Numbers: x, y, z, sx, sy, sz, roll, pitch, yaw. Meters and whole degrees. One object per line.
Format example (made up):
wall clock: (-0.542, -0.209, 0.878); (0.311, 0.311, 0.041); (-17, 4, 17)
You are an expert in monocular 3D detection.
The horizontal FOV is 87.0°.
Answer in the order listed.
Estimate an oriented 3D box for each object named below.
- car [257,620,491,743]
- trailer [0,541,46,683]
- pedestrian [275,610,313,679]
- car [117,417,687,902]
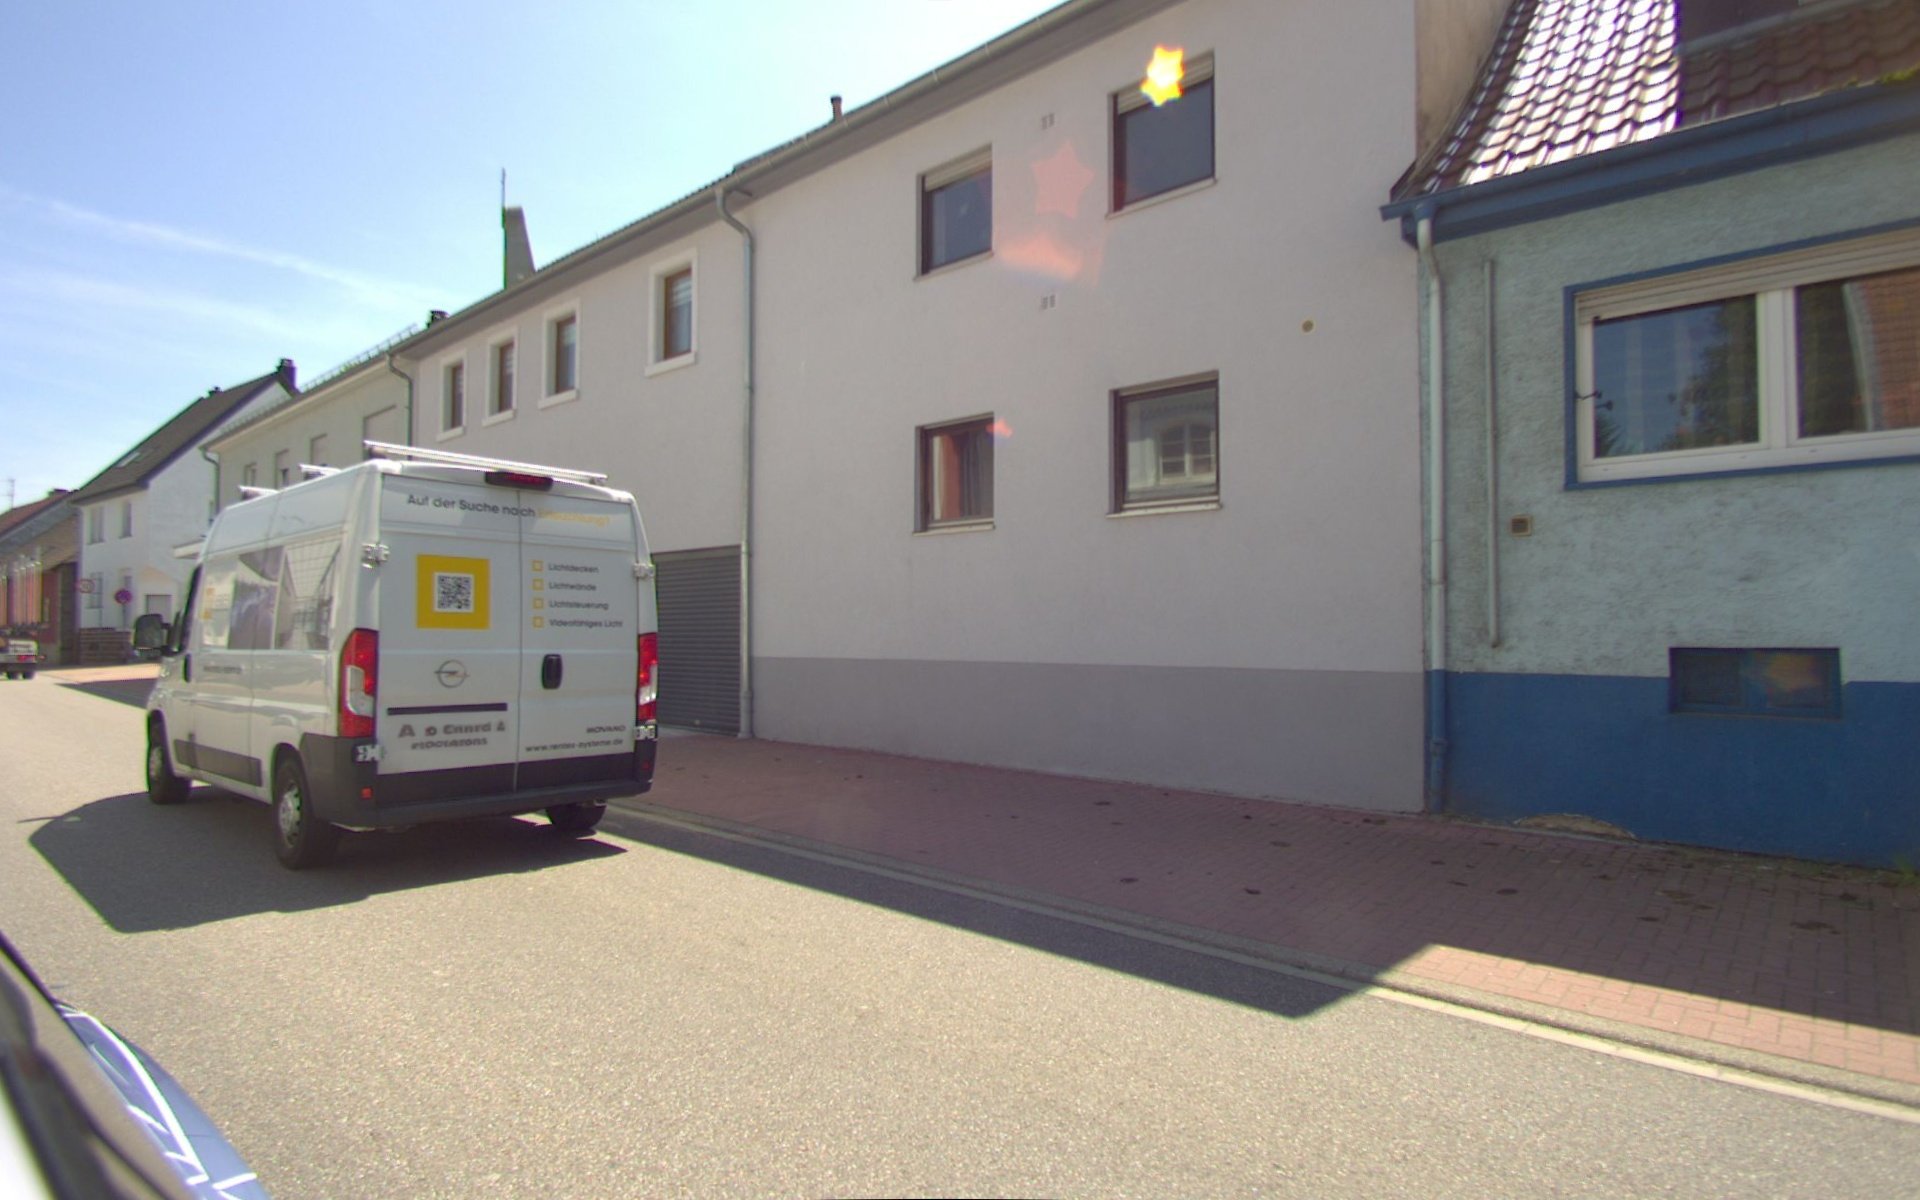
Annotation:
car: (-9.104, 1.135, 15.545); (4.564, 1.569, 1.789); (-2, 0, 42)
trailer: (-33.164, 0.463, 33.379); (15.692, 4.010, 2.602); (-1, -4, 42)
pedestrian: (-16.715, 1.104, 25.409); (0.771, 1.697, 0.618); (-2, -2, 41)
car: (-4.644, 0.408, 7.952); (5.458, 2.562, 2.103); (-2, -4, 41)
